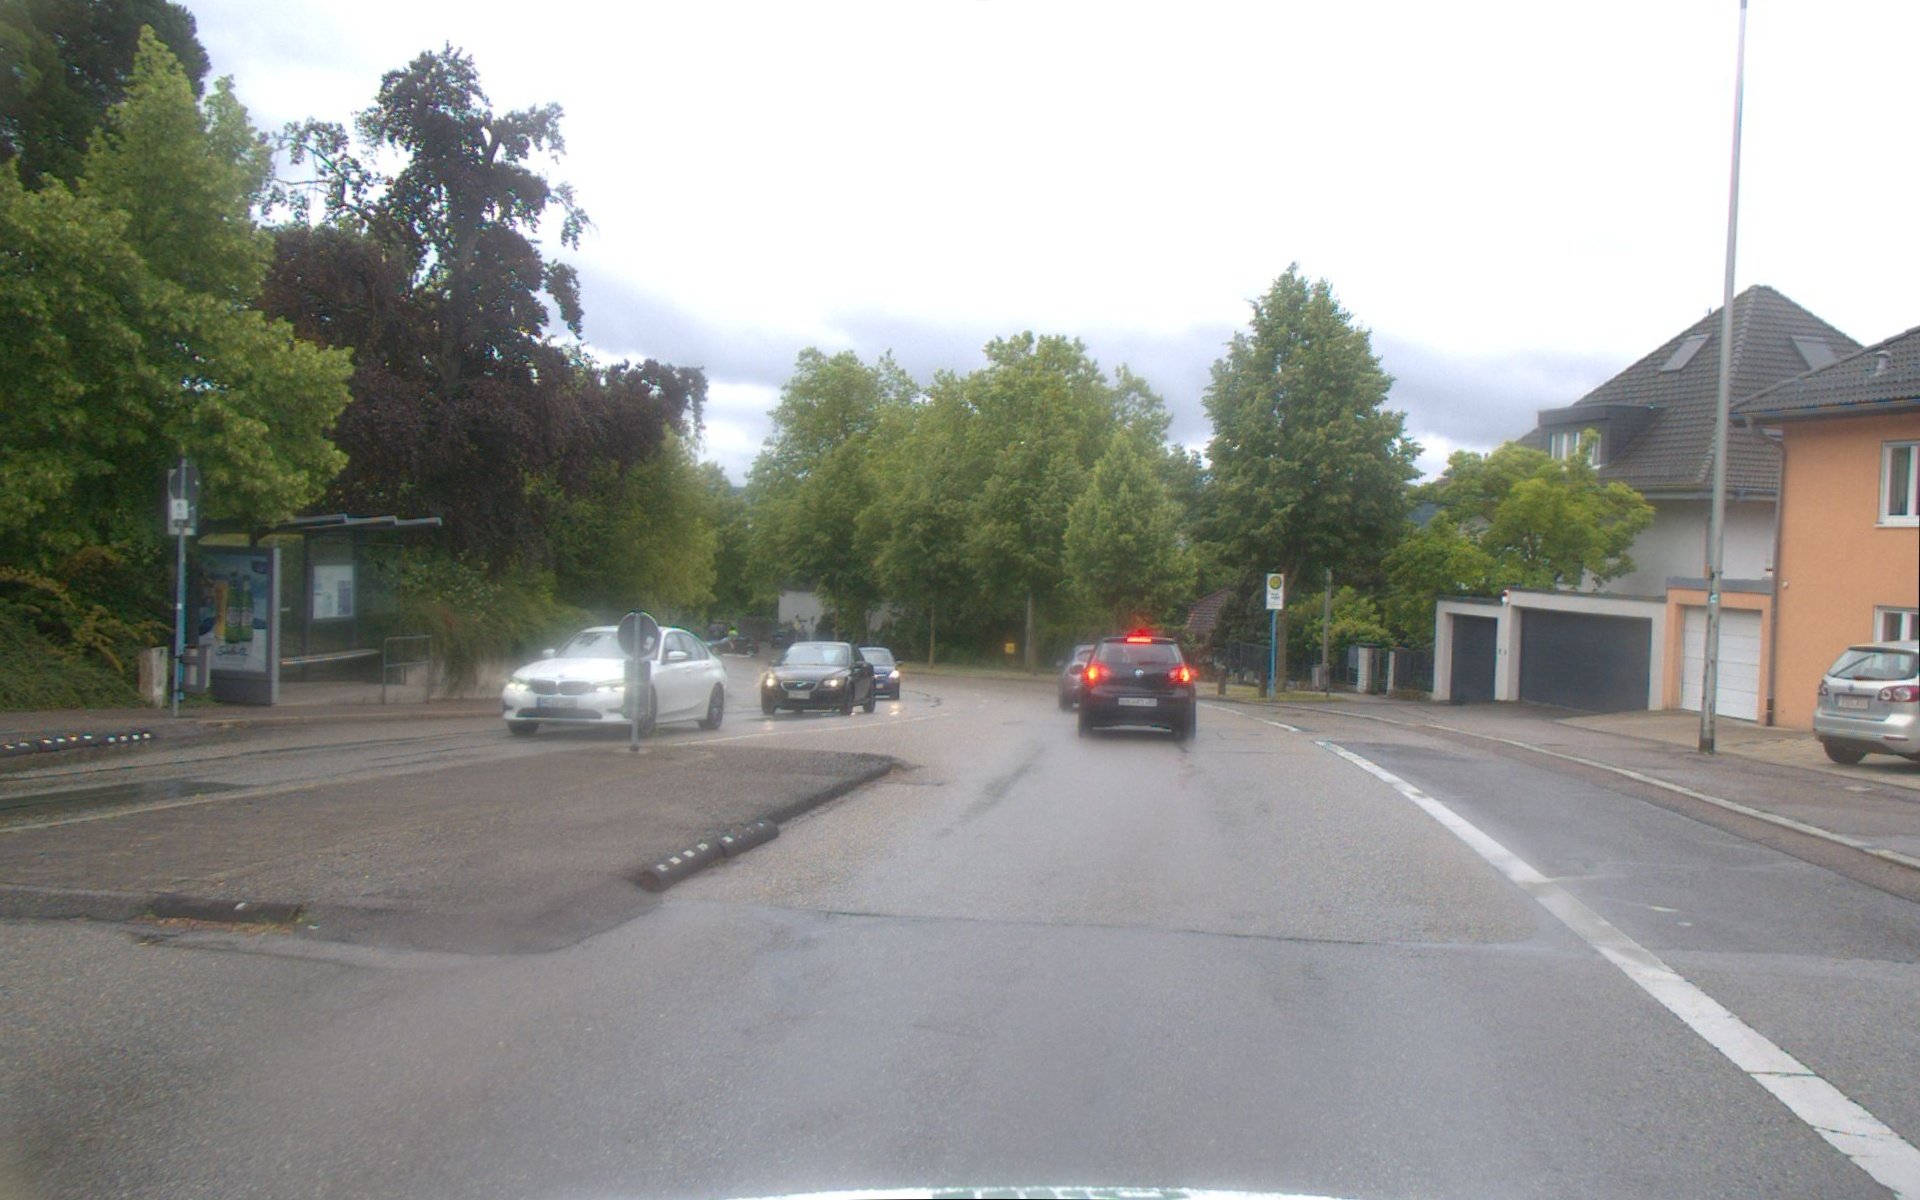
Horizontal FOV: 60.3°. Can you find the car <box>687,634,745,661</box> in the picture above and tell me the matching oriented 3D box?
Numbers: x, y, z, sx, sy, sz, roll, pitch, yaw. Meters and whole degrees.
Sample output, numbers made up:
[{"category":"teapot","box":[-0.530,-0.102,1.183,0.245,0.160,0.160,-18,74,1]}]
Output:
[{"category":"car","box":[-17.772,3.450,120.329,3.921,1.870,1.992,1,0,-16]}]

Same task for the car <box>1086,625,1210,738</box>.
[{"category":"car","box":[2.819,1.202,25.231,1.727,1.566,4.002,1,-2,5]}]

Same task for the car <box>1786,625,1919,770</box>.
[{"category":"car","box":[12.762,1.191,20.929,3.824,1.660,1.895,1,0,-14]}]

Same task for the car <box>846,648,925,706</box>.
[{"category":"car","box":[-2.221,2.295,50.475,1.868,1.640,4.517,1,-2,4]}]

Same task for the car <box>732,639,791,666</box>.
[{"category":"car","box":[-14.207,3.759,118.312,3.921,1.870,1.992,1,0,-16]}]

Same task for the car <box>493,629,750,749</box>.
[{"category":"car","box":[-4.422,1.143,22.406,1.868,1.417,4.518,1,-2,10]}]

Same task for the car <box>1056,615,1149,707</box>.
[{"category":"car","box":[3.211,1.349,37.961,1.729,1.833,4.246,-1,1,0]}]

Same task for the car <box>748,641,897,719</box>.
[{"category":"car","box":[-2.672,1.568,33.232,1.868,1.417,4.518,1,-2,10]}]
